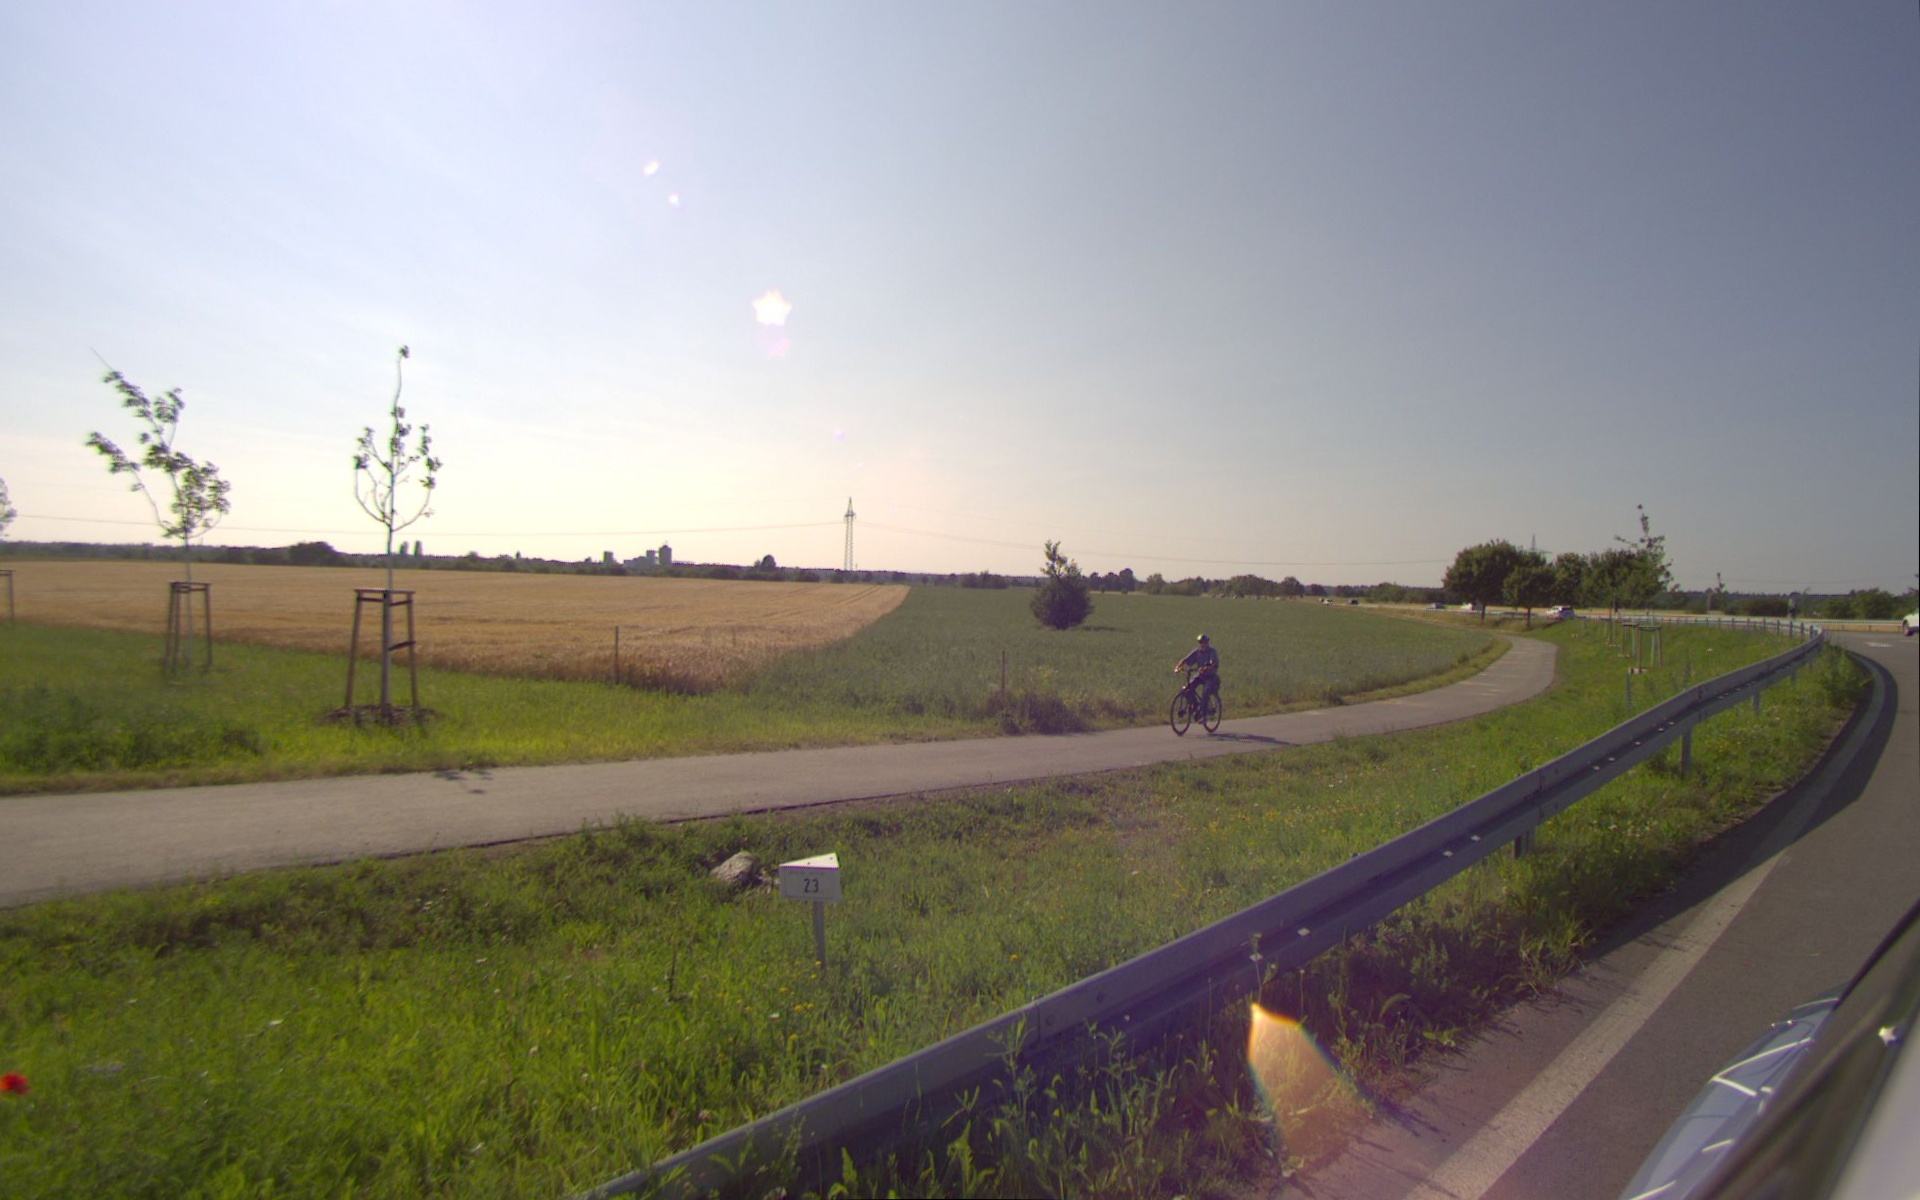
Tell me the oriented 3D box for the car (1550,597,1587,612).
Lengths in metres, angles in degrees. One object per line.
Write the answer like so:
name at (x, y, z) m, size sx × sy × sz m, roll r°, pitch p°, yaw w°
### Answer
car at (70.668, 0.547, 117.592) m, size 2.089 × 1.512 × 5.132 m, roll 0°, pitch -2°, yaw 12°

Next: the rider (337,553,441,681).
rider at (-7.828, 0.223, 13.919) m, size 0.806 × 1.663 × 0.991 m, roll 2°, pitch 0°, yaw 1°

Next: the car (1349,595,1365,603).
car at (82.672, -0.167, 210.816) m, size 1.965 × 1.613 × 4.855 m, roll 1°, pitch -1°, yaw 5°

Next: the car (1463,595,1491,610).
car at (75.435, 0.373, 147.784) m, size 2.086 × 2.040 × 5.139 m, roll 1°, pitch -2°, yaw 8°

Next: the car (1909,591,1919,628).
car at (46.089, 0.570, 46.876) m, size 1.679 × 1.693 × 4.824 m, roll 0°, pitch 4°, yaw 25°

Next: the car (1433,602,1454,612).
car at (77.378, 1.093, 162.131) m, size 1.771 × 1.467 × 4.690 m, roll 1°, pitch -2°, yaw 9°
